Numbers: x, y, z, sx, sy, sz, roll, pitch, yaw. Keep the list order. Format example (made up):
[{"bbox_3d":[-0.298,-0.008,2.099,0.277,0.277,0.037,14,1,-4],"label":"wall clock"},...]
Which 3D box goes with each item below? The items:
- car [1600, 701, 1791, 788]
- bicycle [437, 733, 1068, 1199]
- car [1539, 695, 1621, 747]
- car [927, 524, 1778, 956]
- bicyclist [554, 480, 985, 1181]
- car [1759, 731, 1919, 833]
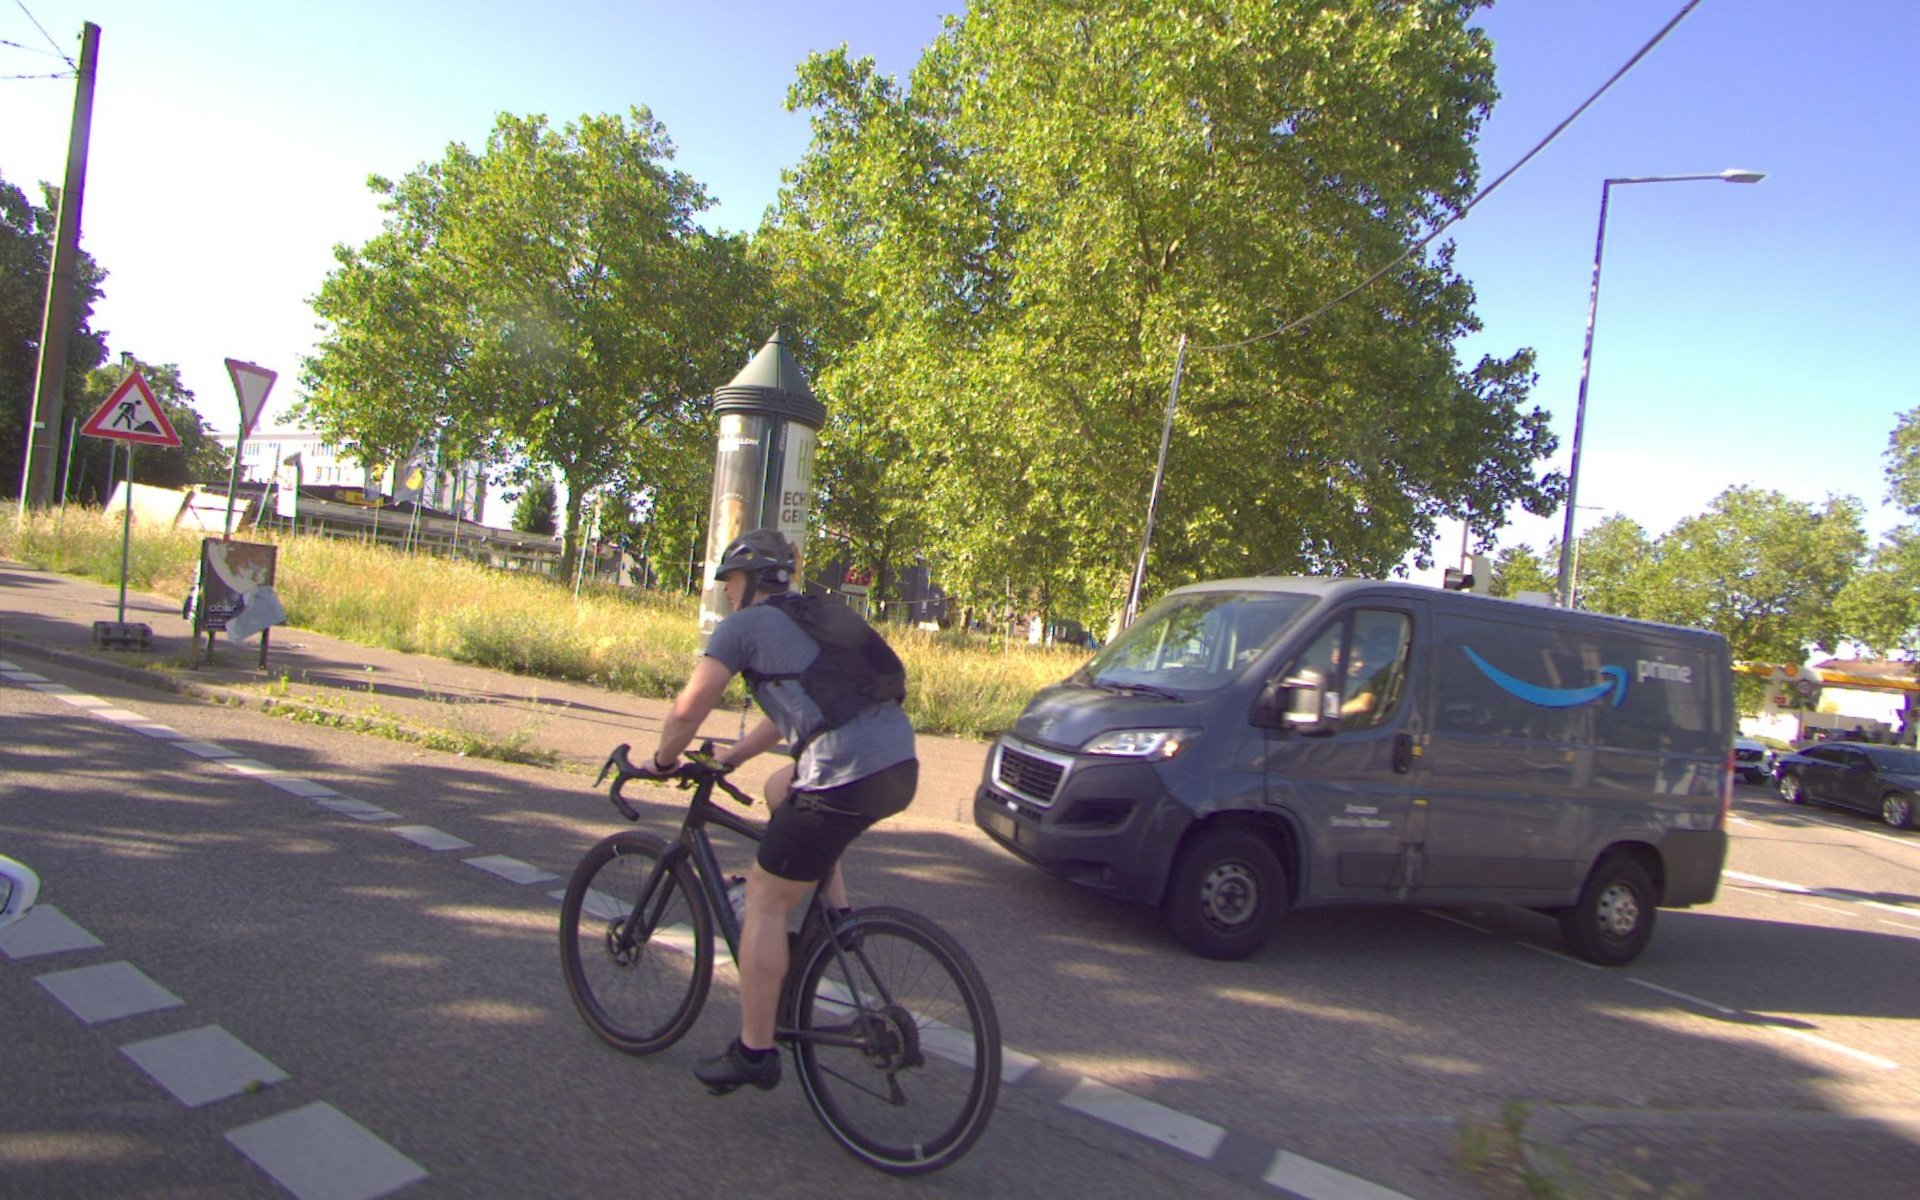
[{"bbox_3d":[19.457,3.762,26.933,1.872,1.701,4.783,6,-2,7],"label":"car"},{"bbox_3d":[-0.747,1.037,3.061,2.056,0.934,0.524,6,0,34],"label":"bicycle"},{"bbox_3d":[23.977,4.649,39.028,1.346,1.636,3.211,3,-1,6],"label":"car"},{"bbox_3d":[2.588,0.957,6.748,5.048,2.095,2.121,7,-1,-21],"label":"car"},{"bbox_3d":[-0.558,0.556,2.956,0.918,1.700,0.615,6,0,33],"label":"bicyclist"},{"bbox_3d":[18.208,3.545,19.596,1.897,1.425,4.573,3,-1,6],"label":"car"}]
